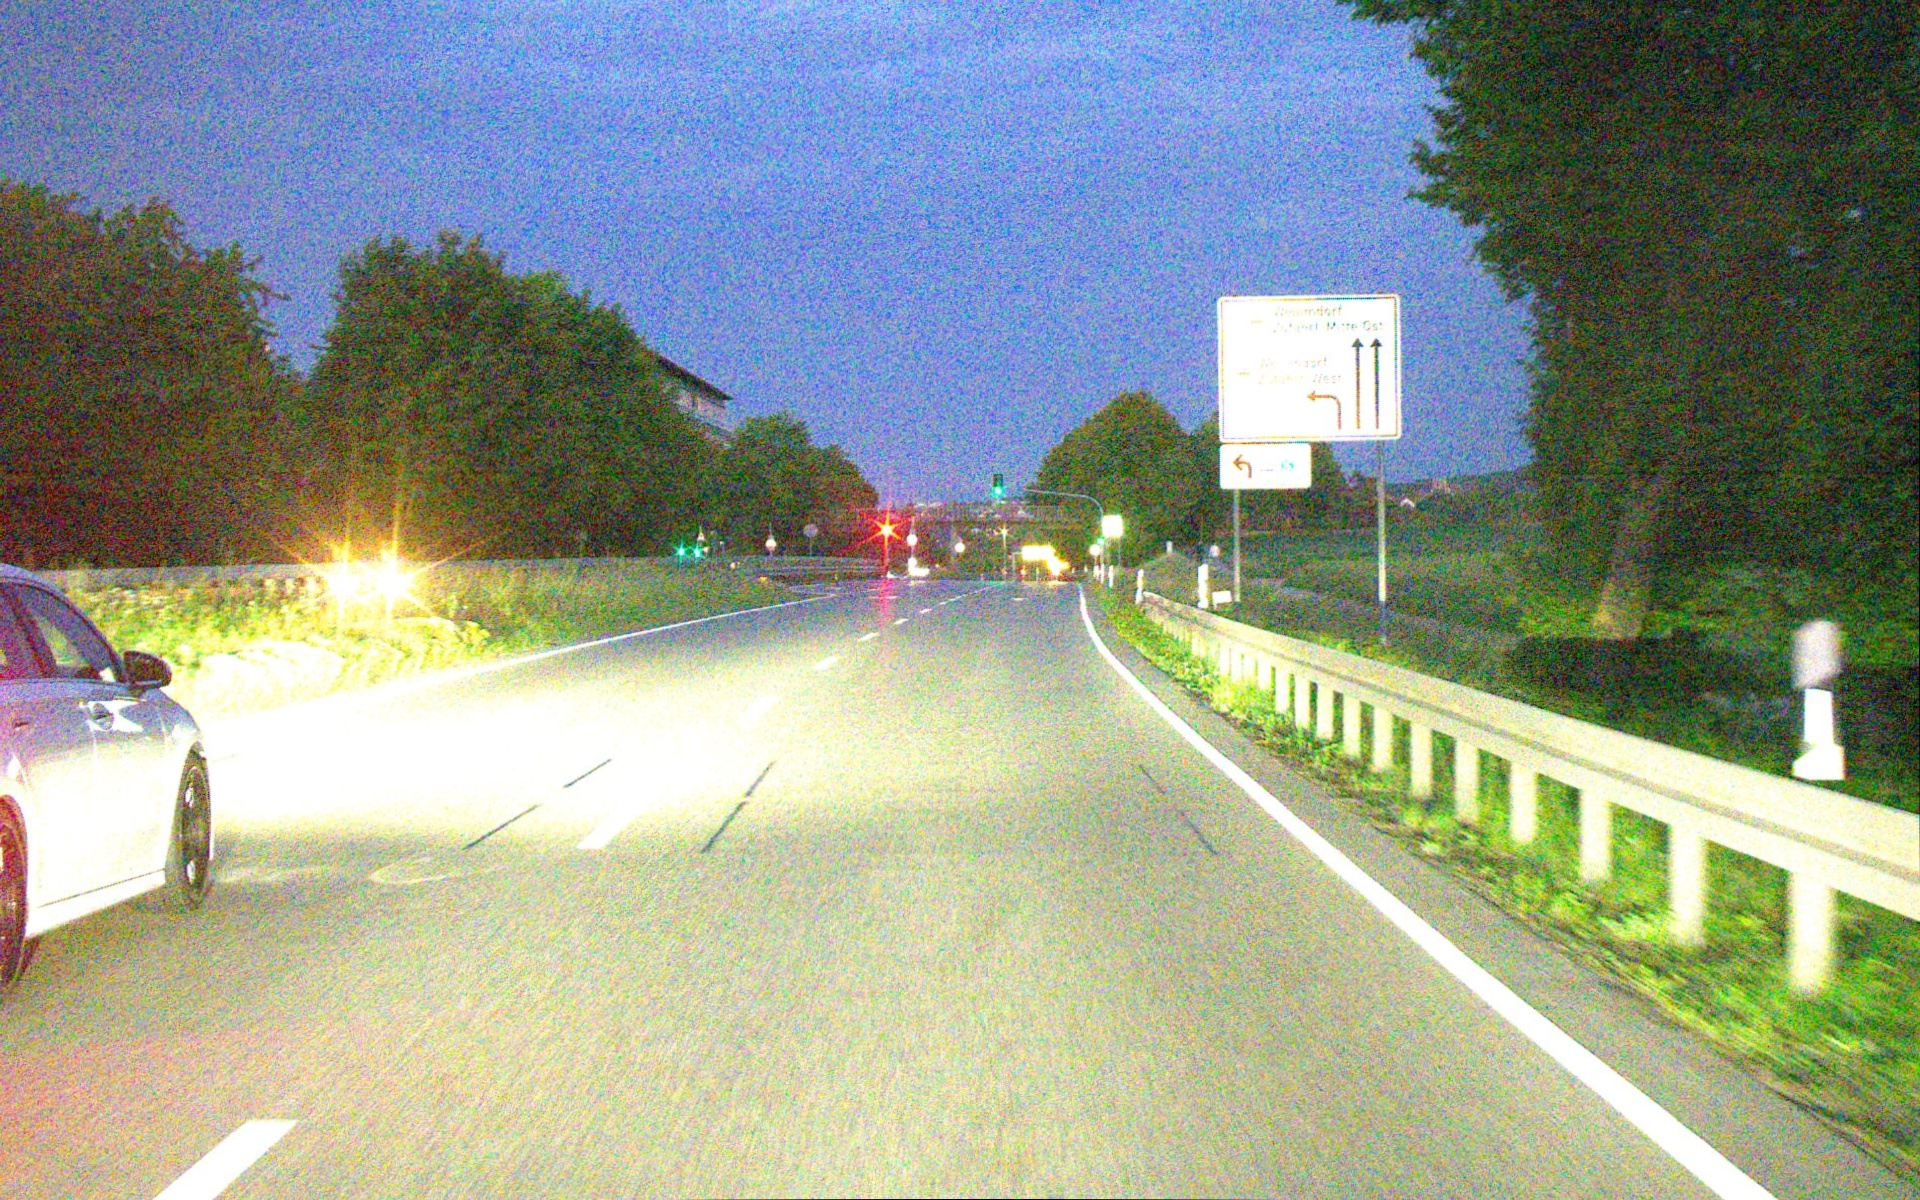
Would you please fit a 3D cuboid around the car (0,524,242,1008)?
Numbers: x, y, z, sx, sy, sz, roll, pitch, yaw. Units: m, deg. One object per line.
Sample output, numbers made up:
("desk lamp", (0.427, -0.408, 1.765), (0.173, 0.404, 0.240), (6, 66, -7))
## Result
("car", (-3.791, 0.471, 12.090), (1.642, 1.485, 4.580), (1, 1, -1))
